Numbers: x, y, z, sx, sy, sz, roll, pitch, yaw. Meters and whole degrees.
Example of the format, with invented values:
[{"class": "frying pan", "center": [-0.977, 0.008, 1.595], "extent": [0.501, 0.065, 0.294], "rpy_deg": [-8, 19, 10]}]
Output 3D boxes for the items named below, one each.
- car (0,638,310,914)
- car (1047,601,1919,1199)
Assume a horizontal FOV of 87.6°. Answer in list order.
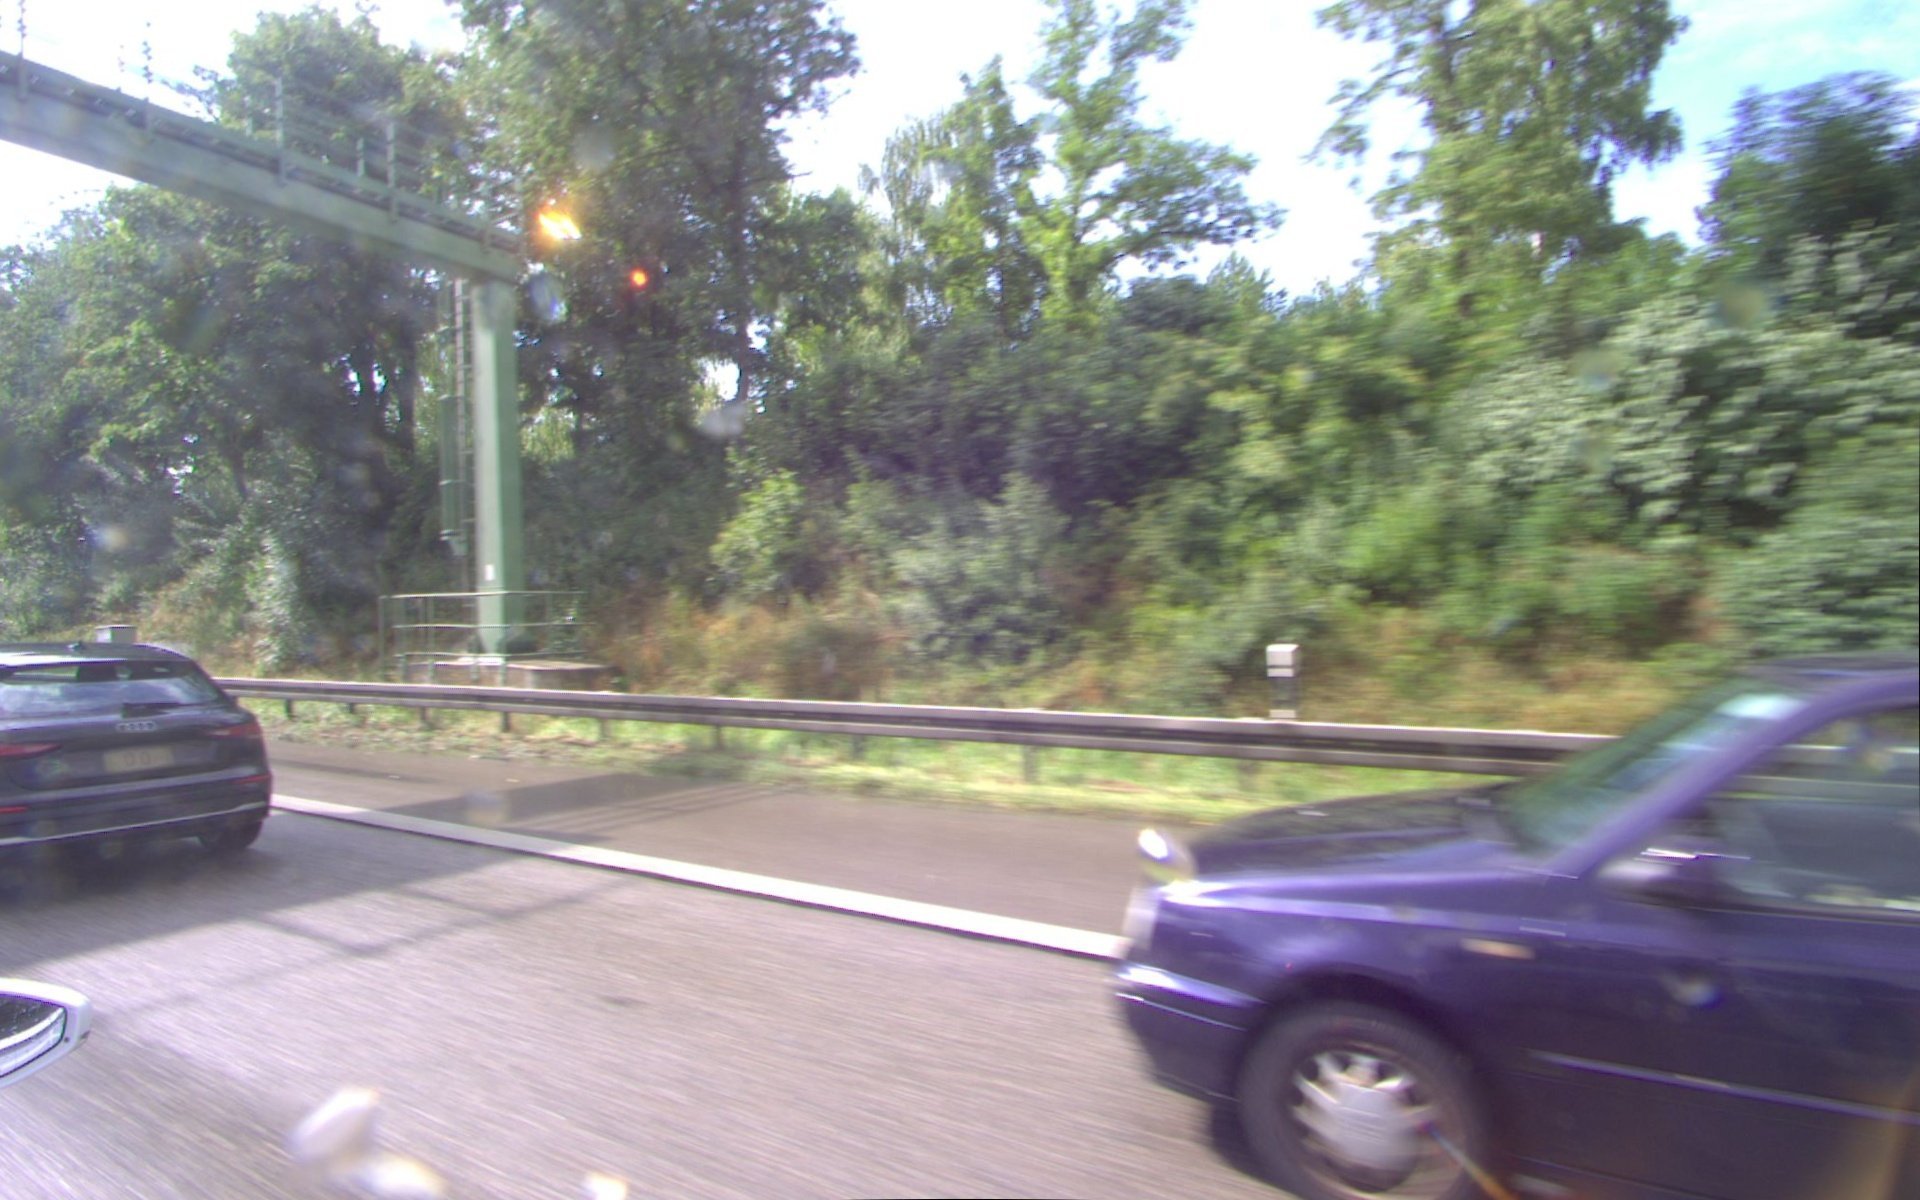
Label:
[{"class": "car", "center": [-6.476, 0.979, 6.869], "extent": [4.306, 1.414, 1.752], "rpy_deg": [-1, -2, 32]}, {"class": "car", "center": [2.241, 0.753, 2.535], "extent": [3.690, 1.475, 1.648], "rpy_deg": [-1, -1, 31]}]
